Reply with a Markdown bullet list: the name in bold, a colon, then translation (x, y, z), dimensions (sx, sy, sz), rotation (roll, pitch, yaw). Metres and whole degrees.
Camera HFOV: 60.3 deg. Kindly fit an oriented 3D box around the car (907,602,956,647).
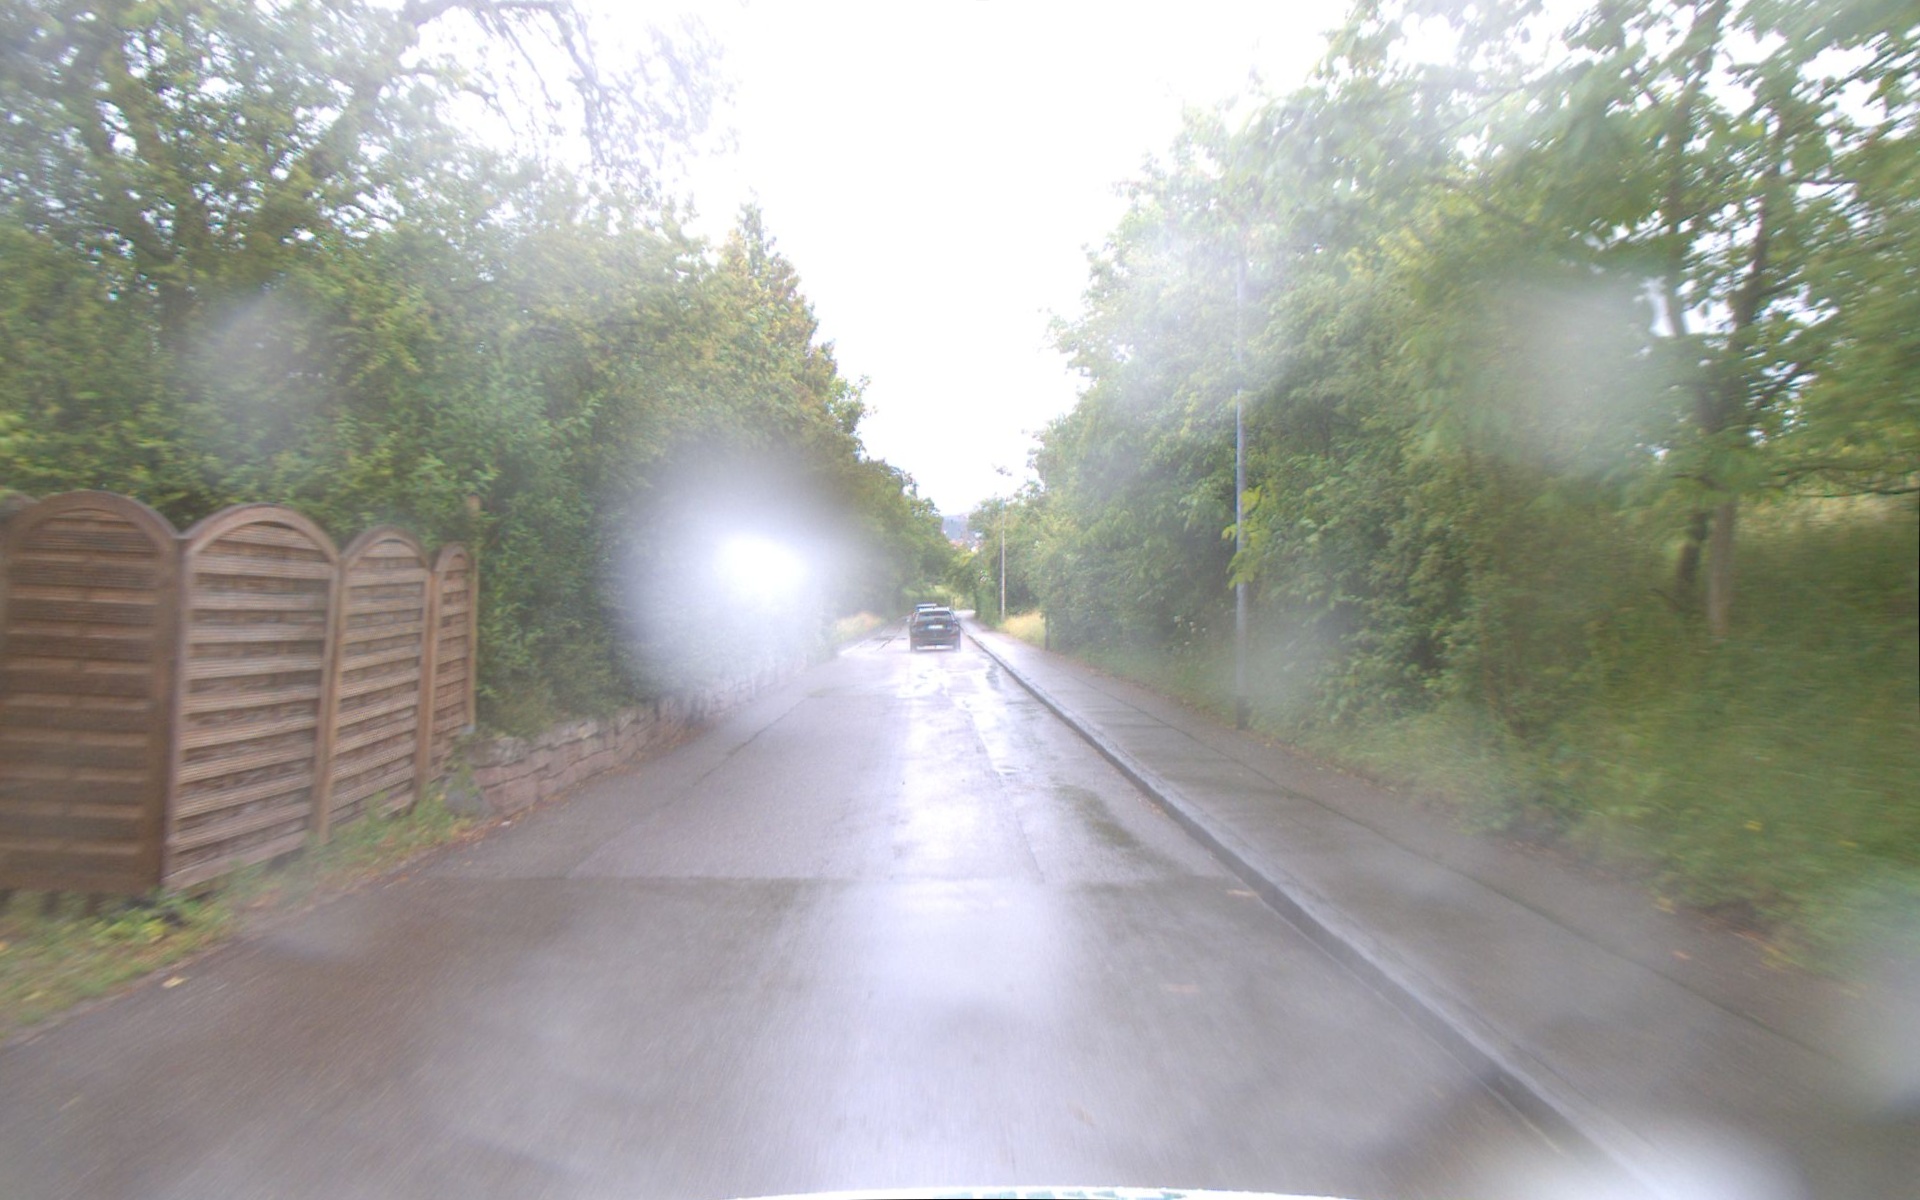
- **car**: translation (-0.957, 0.861, 56.970), dimensions (1.601, 1.476, 3.544), rotation (-1, -1, 0)
